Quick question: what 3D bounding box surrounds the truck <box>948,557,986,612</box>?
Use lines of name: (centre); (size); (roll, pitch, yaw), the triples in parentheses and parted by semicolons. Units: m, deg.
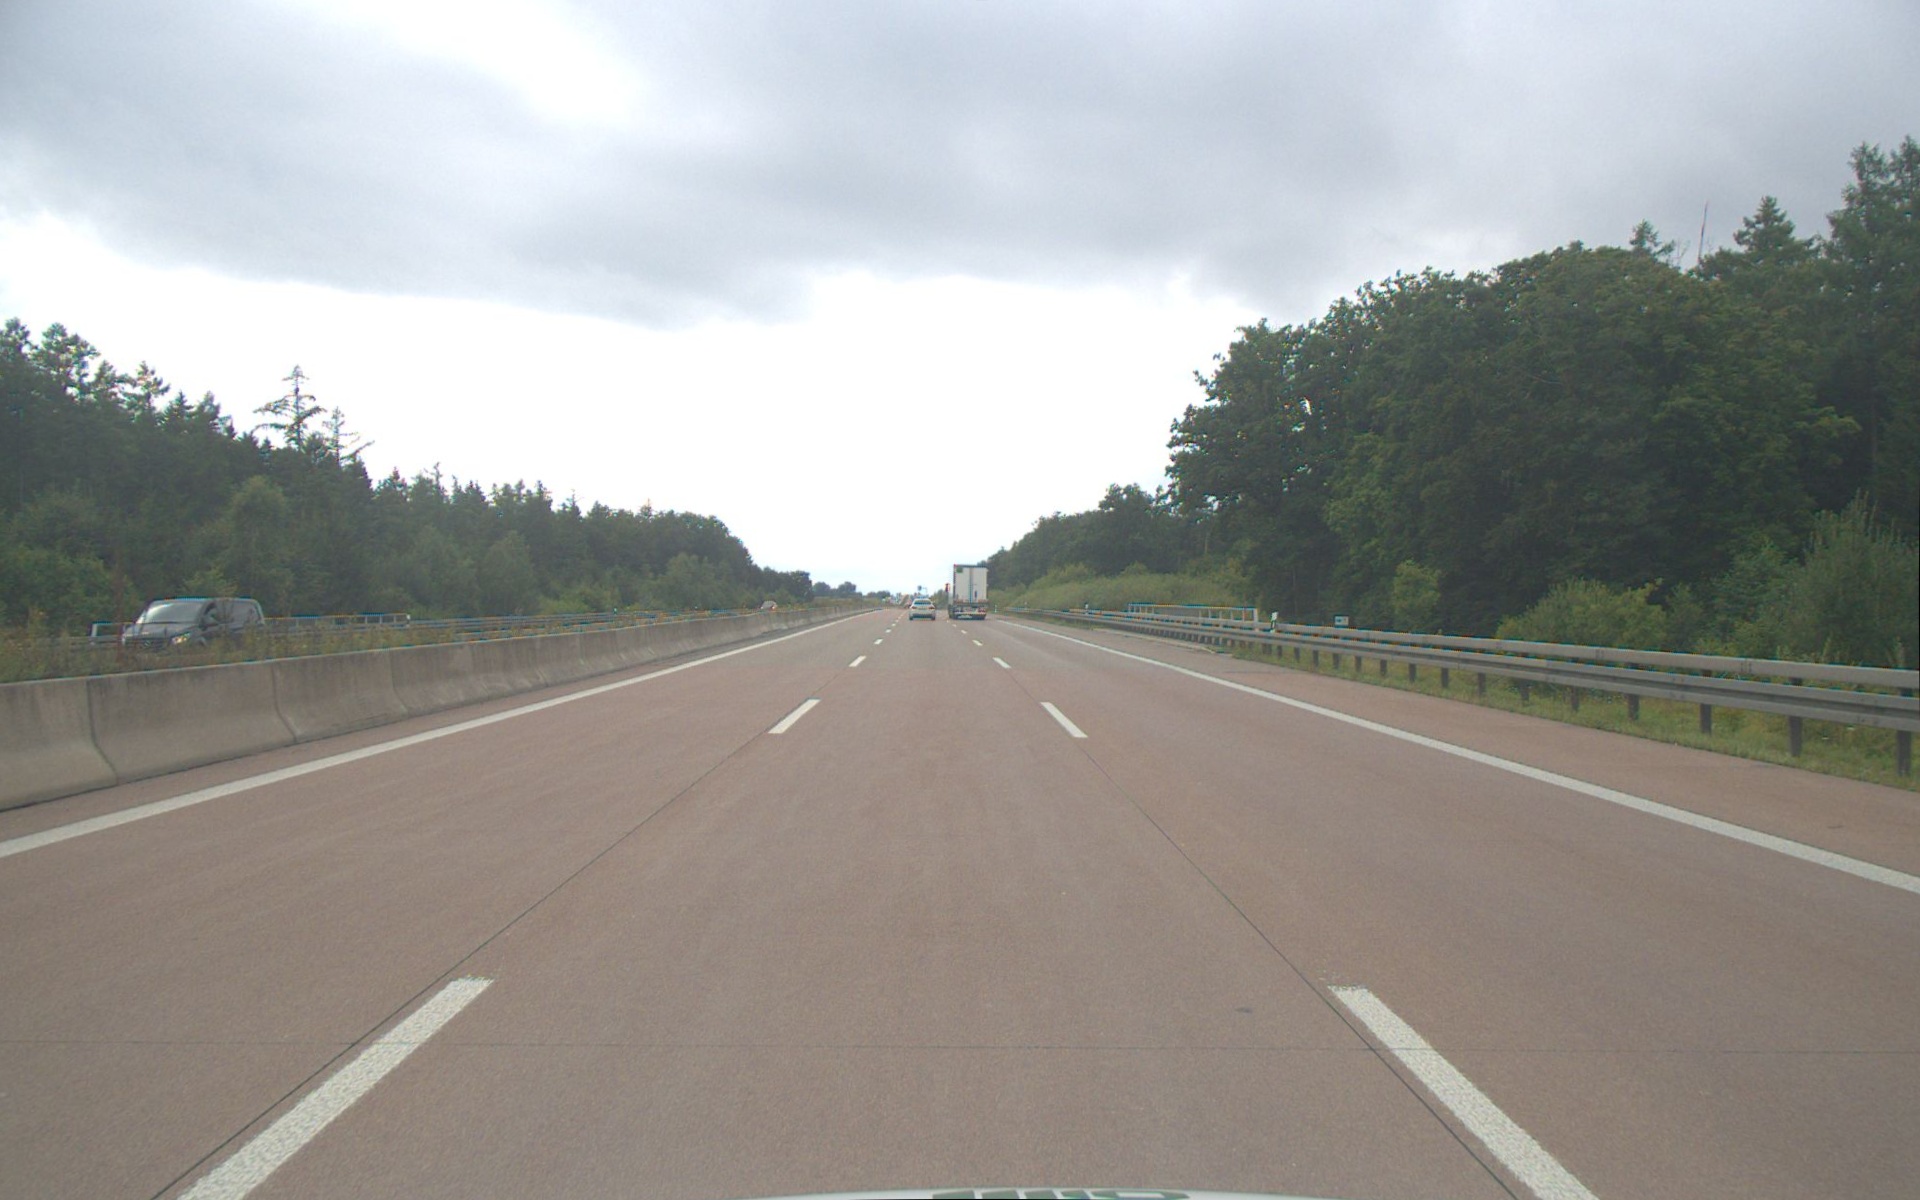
truck: (0.559, -1.207, 135.057); (2.862, 4.369, 5.332); (0, 0, -2)

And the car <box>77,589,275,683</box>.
car: (-19.117, 0.820, 40.651); (2.208, 2.049, 5.269); (3, 0, 1)

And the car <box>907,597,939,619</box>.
car: (-2.616, 0.560, 117.159); (2.119, 1.476, 4.718); (2, 0, 0)

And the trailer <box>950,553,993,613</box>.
trailer: (0.787, -1.223, 127.384); (2.862, 4.369, 13.608); (0, 0, -2)
